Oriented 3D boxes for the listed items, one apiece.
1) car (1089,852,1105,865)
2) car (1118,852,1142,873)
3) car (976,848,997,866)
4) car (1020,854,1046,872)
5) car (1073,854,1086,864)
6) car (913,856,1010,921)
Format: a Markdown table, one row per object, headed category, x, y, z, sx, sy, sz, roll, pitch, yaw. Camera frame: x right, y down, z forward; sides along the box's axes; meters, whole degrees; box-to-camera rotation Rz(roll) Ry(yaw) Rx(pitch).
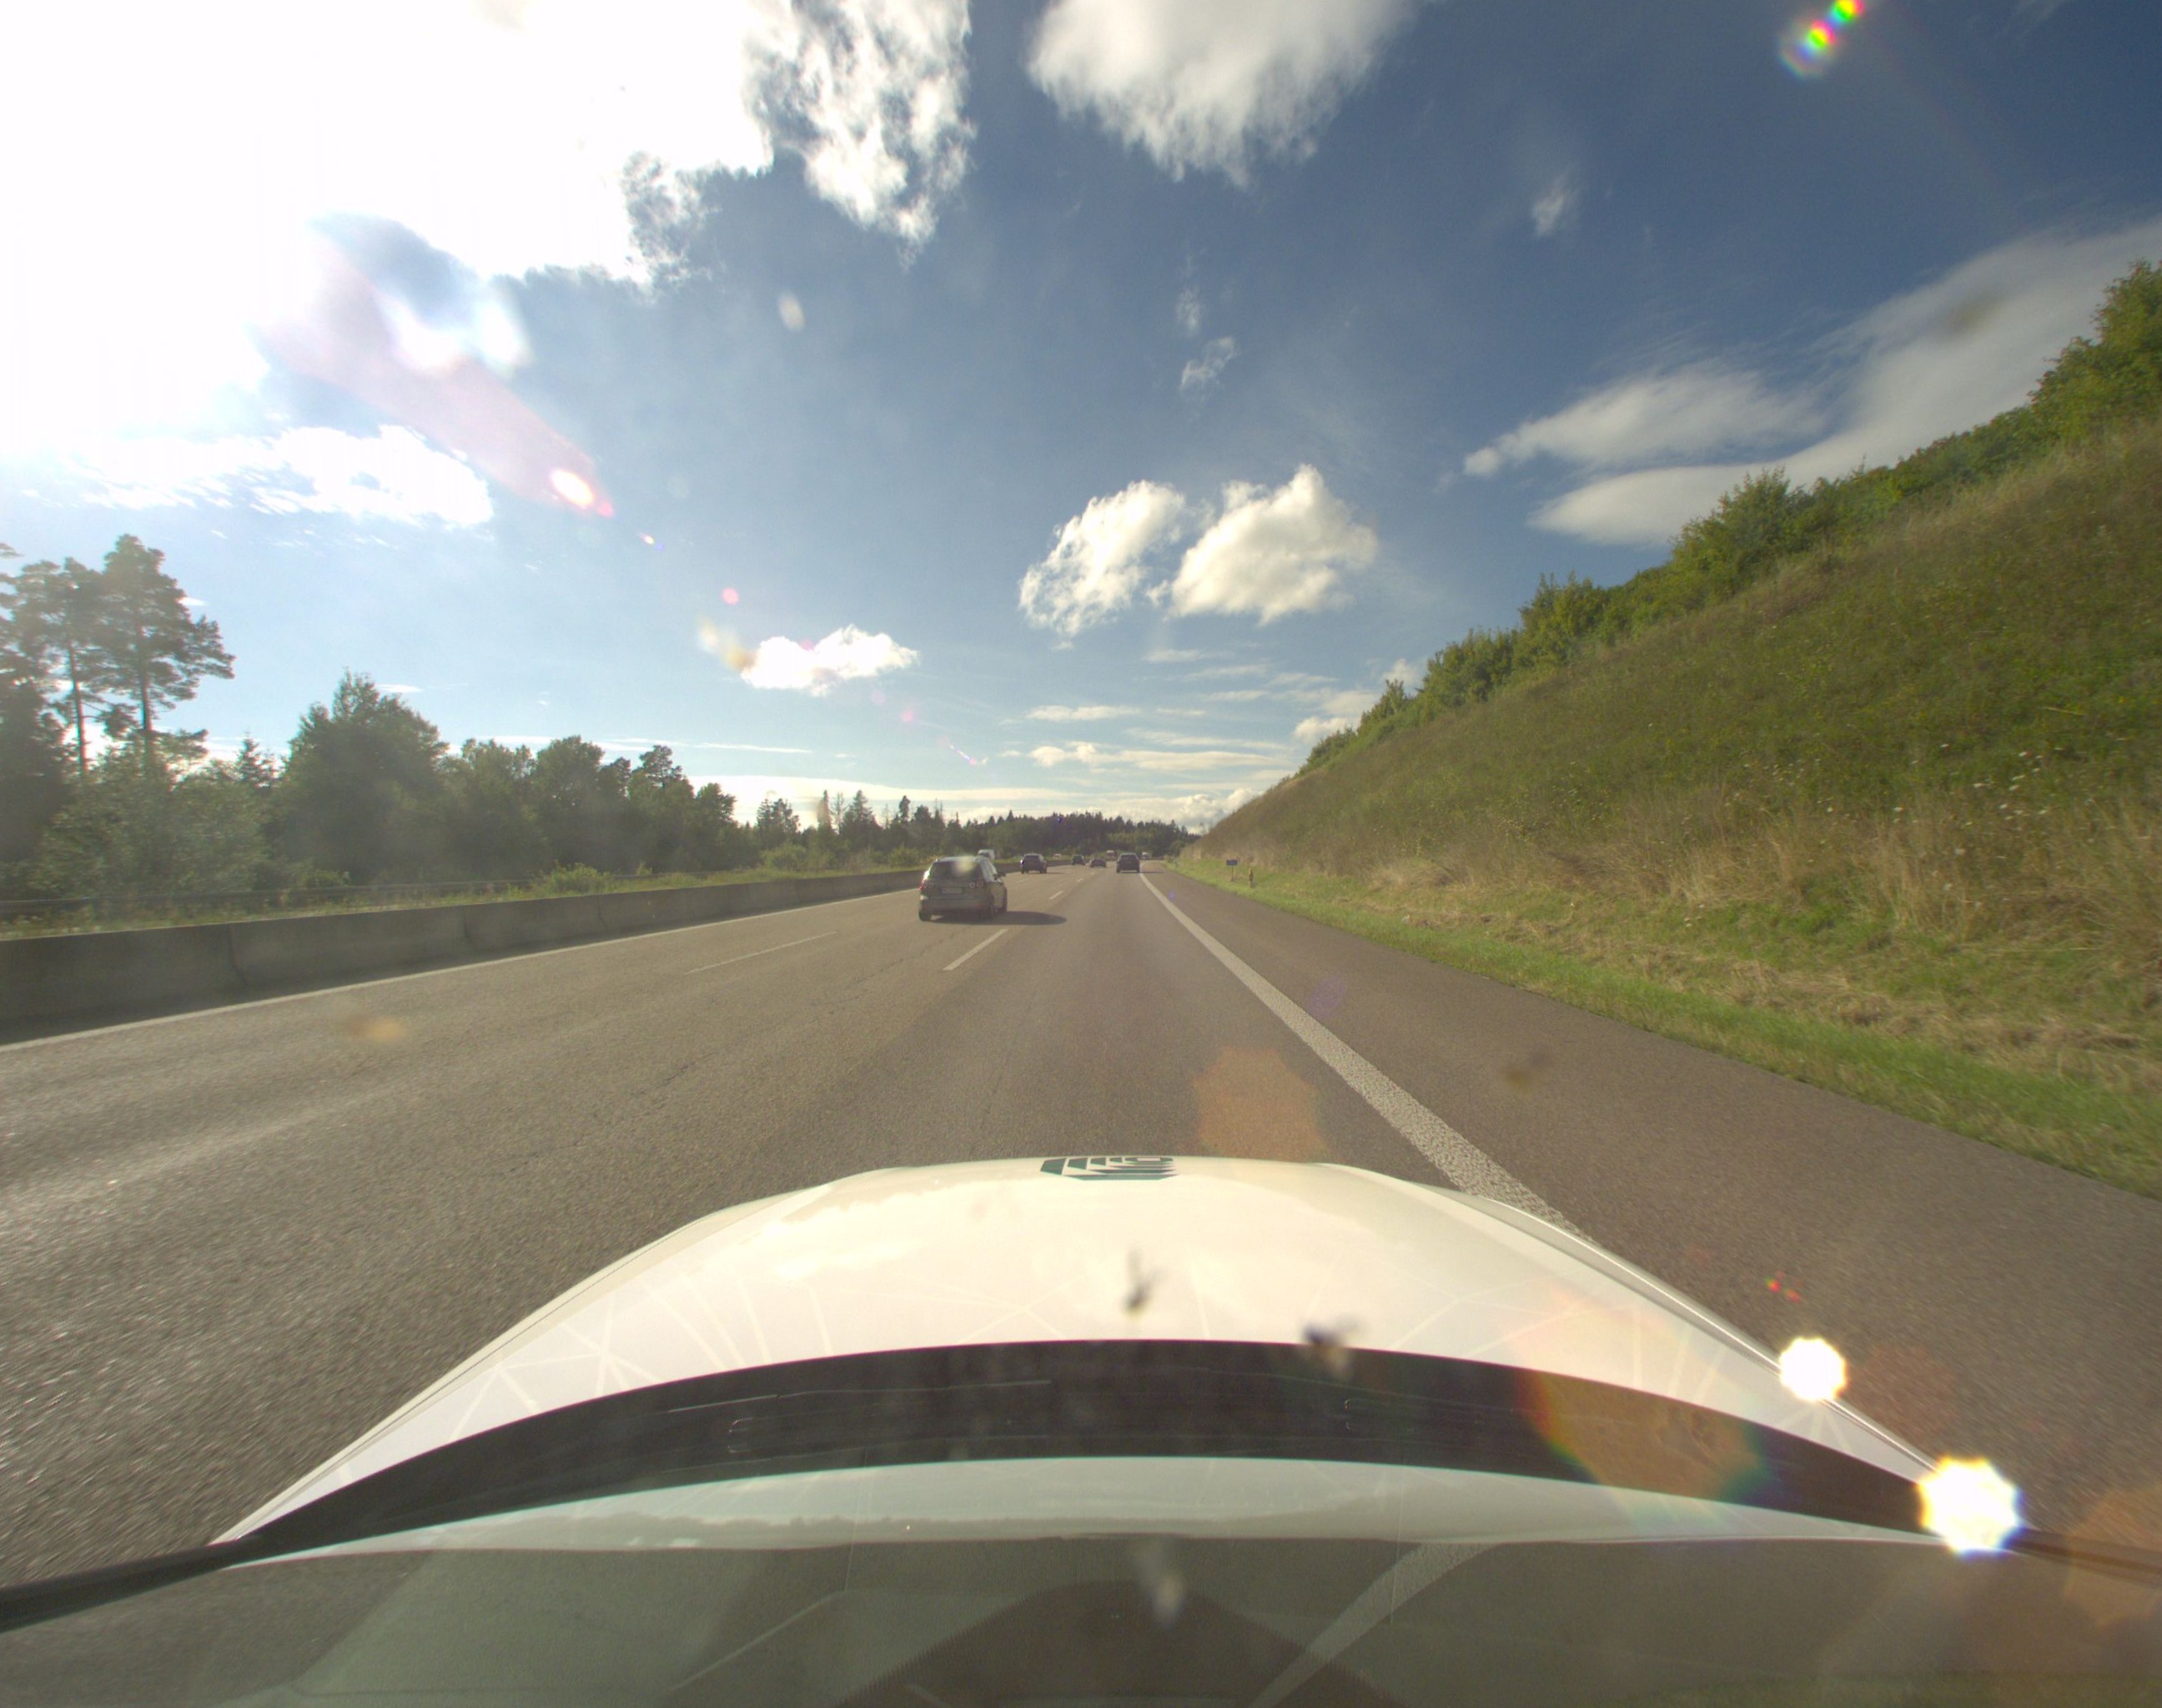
| category | x | y | z | sx | sy | sz | roll | pitch | yaw |
| --- | --- | --- | --- | --- | --- | --- | --- | --- | --- |
| car | 1.906 | 0.547 | 97.289 | 1.866 | 1.497 | 3.881 | -1 | 0 | 2 |
| car | 4.013 | 0.700 | 67.763 | 1.867 | 1.675 | 3.891 | -1 | 0 | 2 |
| car | -15.007 | 0.480 | 129.593 | 2.261 | 2.683 | 5.892 | -1 | 0 | 2 |
| car | -4.036 | 0.747 | 69.090 | 1.867 | 1.497 | 3.880 | -1 | 0 | 1 |
| car | -0.168 | 0.709 | 118.754 | 1.867 | 1.497 | 3.880 | -1 | 0 | 1 |
| car | -2.984 | 0.821 | 21.121 | 1.867 | 1.497 | 3.880 | -1 | 0 | 1 |
